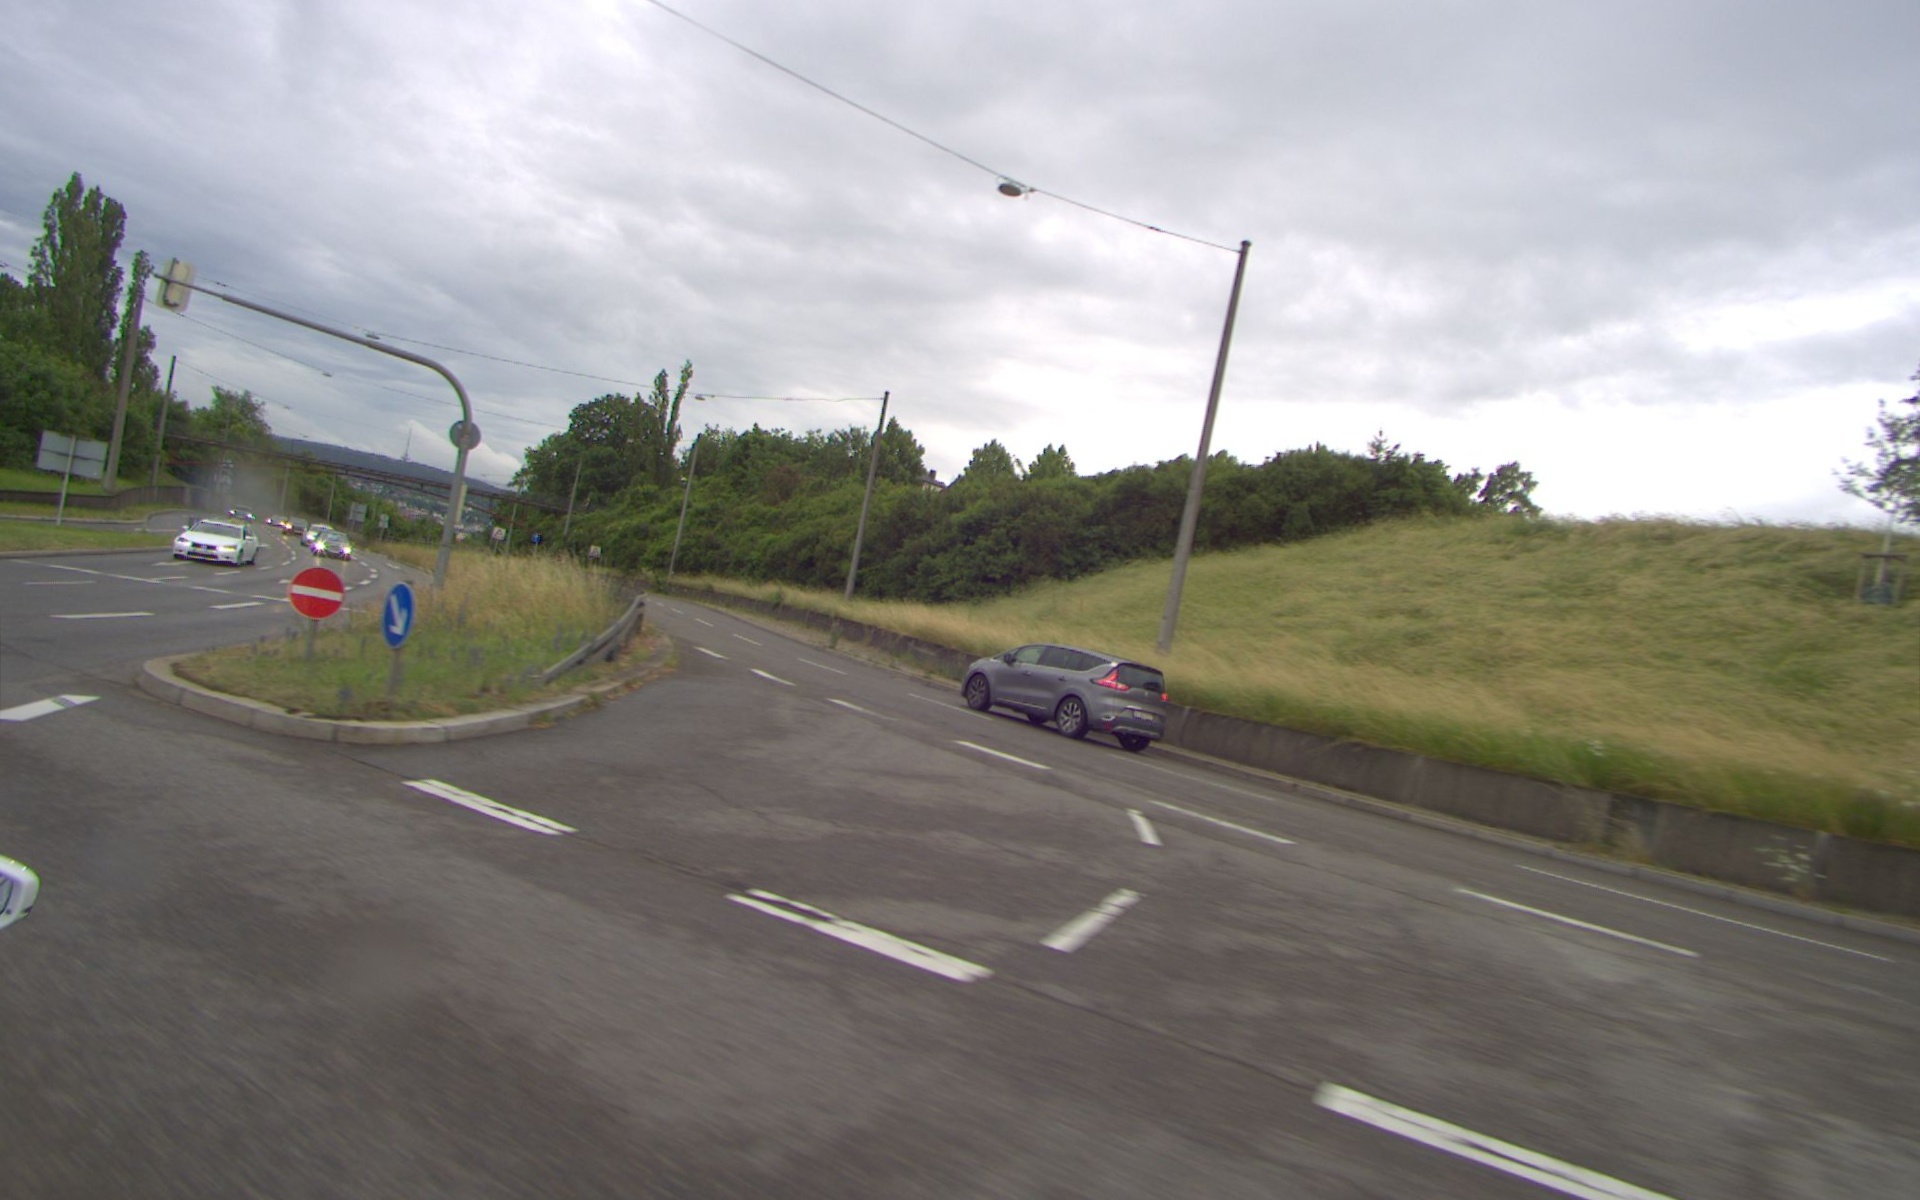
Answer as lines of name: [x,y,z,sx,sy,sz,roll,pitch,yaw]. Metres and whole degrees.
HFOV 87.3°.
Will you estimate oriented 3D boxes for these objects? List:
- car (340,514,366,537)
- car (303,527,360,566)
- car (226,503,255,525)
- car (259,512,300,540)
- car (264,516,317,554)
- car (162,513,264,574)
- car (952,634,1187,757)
car: [-68.180,-8.372,113.039,2.064,2.107,4.330,11,-1,-34]
car: [-34.571,-2.971,55.455,1.979,1.636,4.341,11,-1,-26]
car: [-68.540,-8.217,95.864,1.869,1.672,4.086,11,-1,-34]
car: [-53.860,-5.867,79.567,1.989,1.636,4.318,11,-1,-42]
car: [-41.283,-4.029,62.024,1.989,1.636,4.318,11,-1,-42]
car: [-26.287,-2.022,35.554,1.979,1.636,3.972,11,-1,-26]
car: [1.972,1.767,19.505,1.719,1.666,4.581,11,-4,-36]
